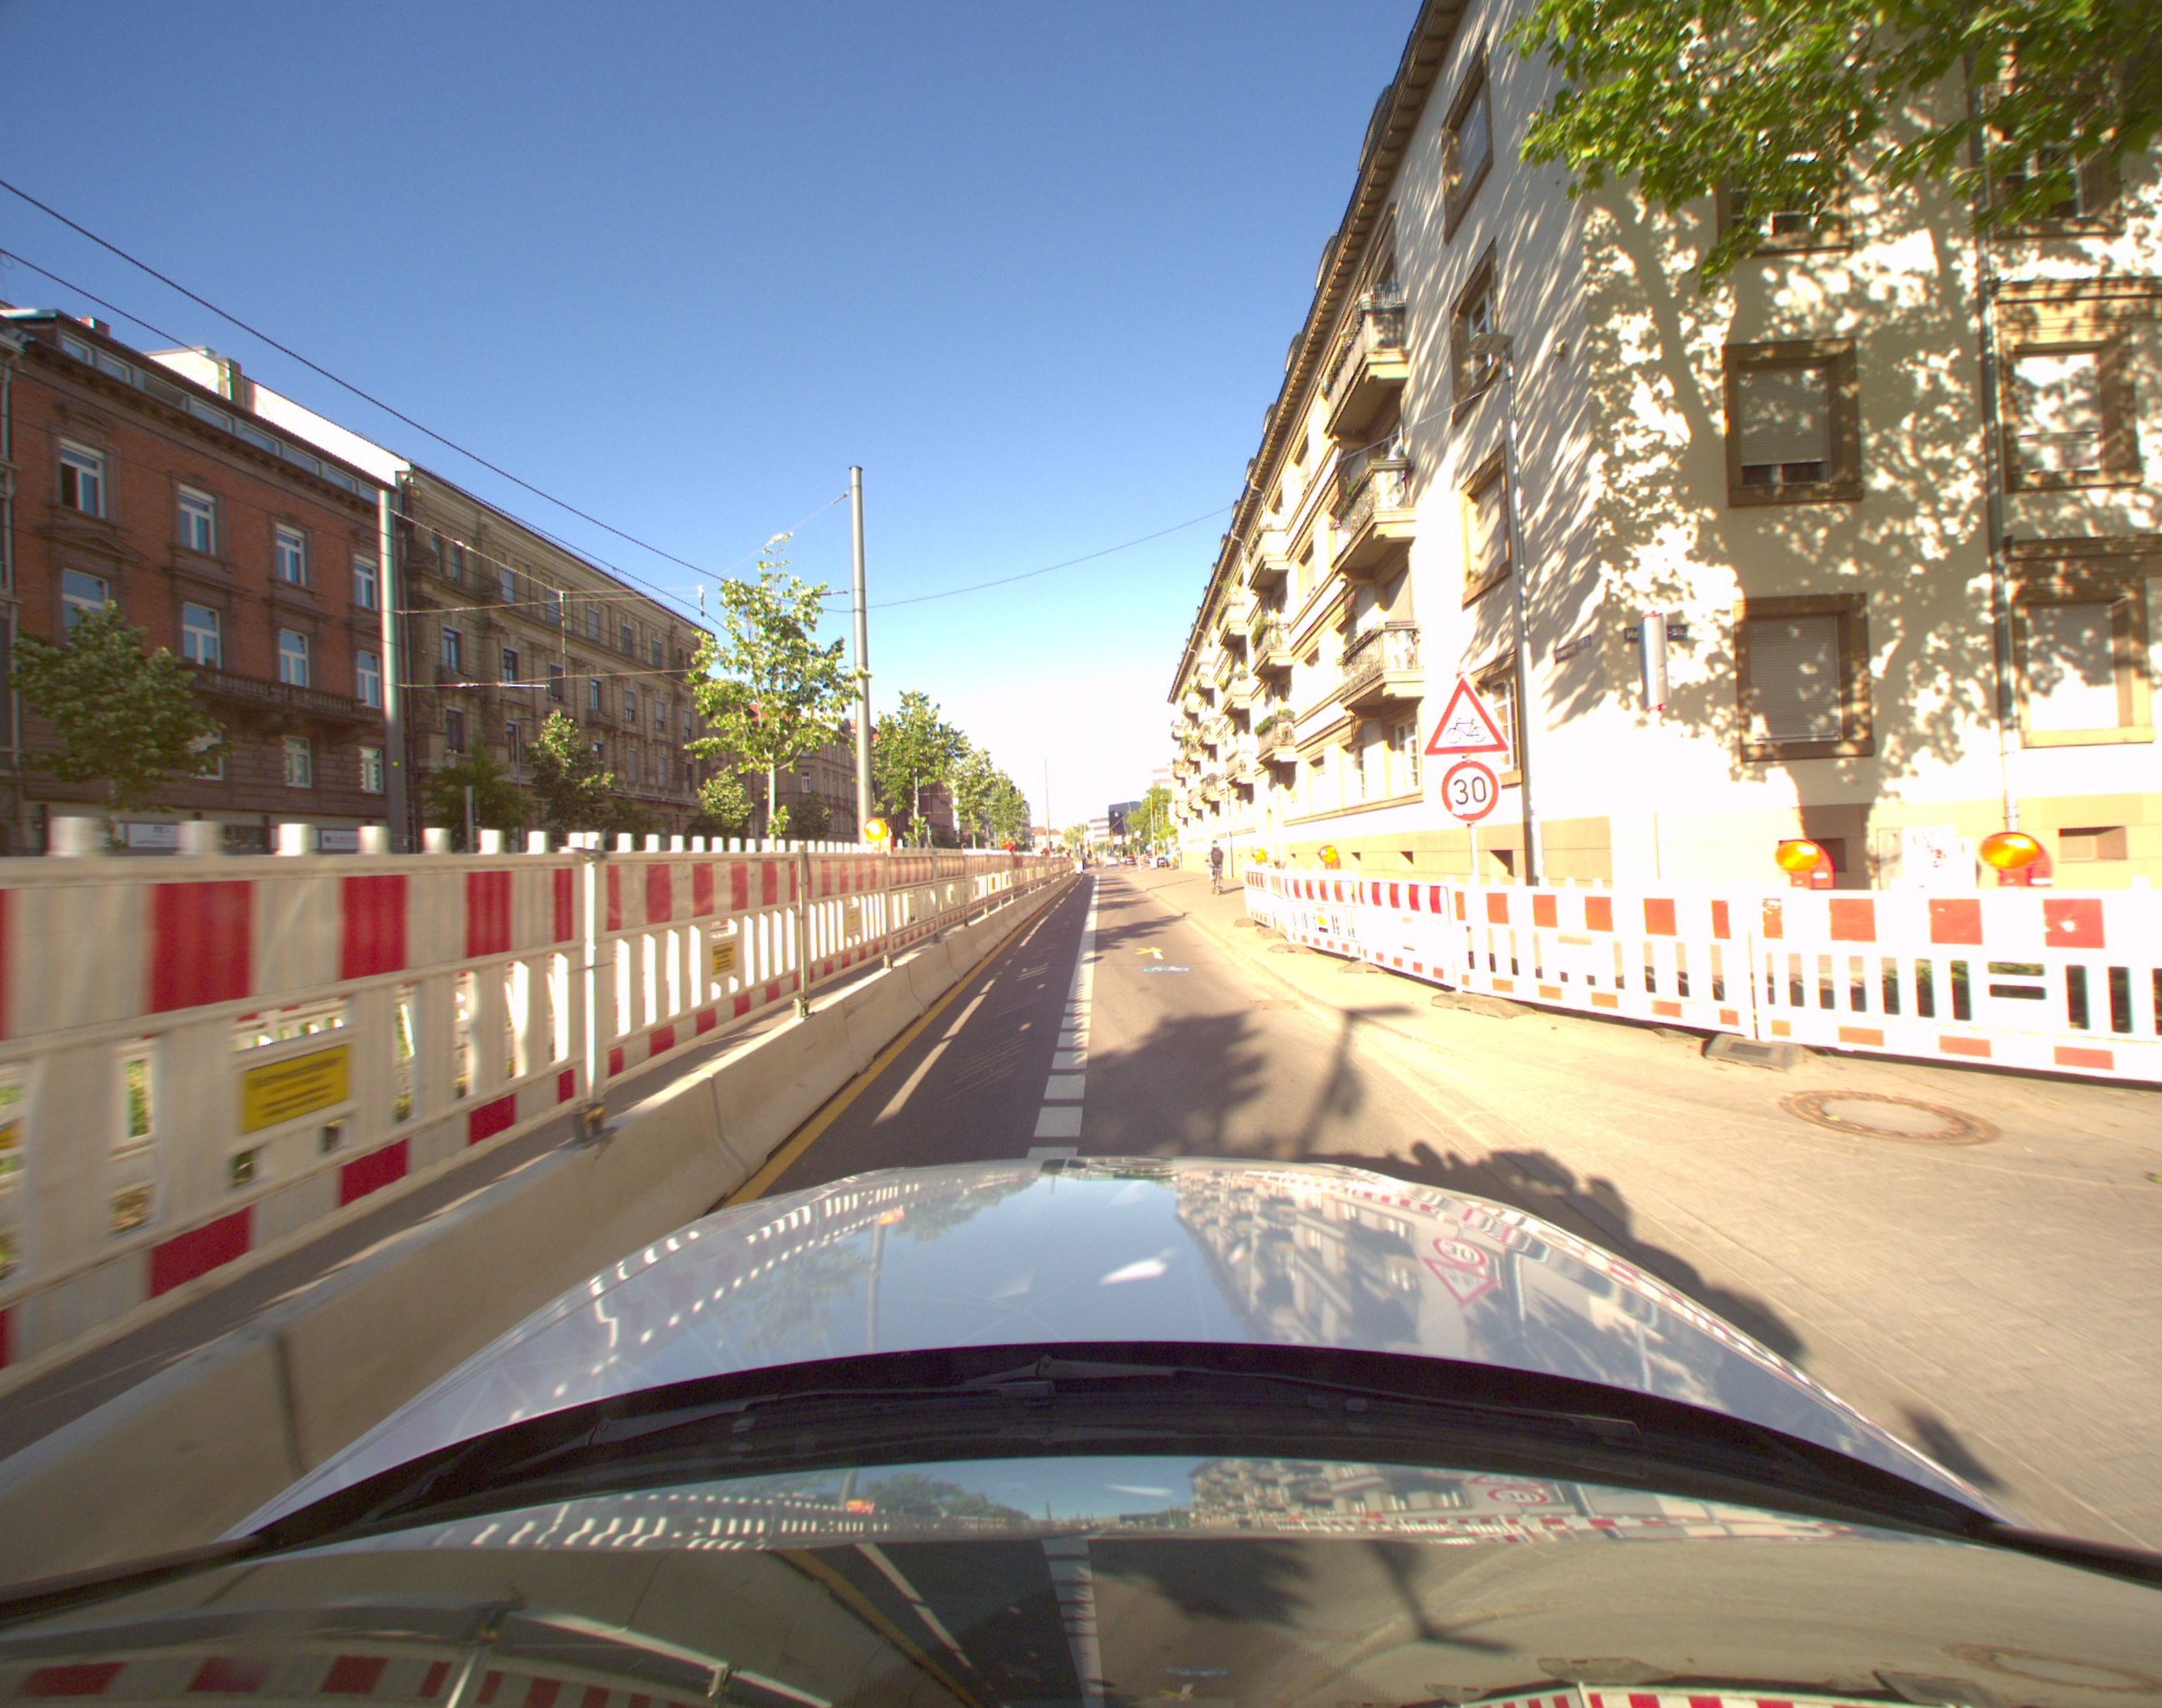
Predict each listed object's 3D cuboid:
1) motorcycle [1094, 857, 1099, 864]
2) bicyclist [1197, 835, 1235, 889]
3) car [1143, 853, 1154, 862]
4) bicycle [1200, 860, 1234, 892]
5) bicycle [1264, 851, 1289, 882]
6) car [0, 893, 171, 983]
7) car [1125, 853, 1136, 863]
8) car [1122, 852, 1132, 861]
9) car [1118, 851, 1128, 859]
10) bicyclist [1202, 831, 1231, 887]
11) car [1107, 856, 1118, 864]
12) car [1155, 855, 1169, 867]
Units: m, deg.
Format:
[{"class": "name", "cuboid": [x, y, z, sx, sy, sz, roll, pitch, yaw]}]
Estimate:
[{"class": "motorcycle", "cuboid": [3.238, 1.337, 168.645, 1.015, 1.312, 2.916, 0, 0, 2]}, {"class": "bicyclist", "cuboid": [4.364, 0.245, 26.429, 0.988, 1.666, 1.014, -3, 0, 2]}, {"class": "car", "cuboid": [13.282, 0.653, 160.398, 1.839, 1.560, 4.636, 0, 3, 2]}, {"class": "bicycle", "cuboid": [4.419, 0.694, 26.592, 0.764, 0.953, 2.198, -2, 0, 1]}, {"class": "bicycle", "cuboid": [7.183, 0.440, 29.992, 0.416, 1.095, 2.199, -2, 0, 2]}, {"class": "car", "cuboid": [-22.694, 1.766, 17.083, 1.930, 1.658, 4.548, 0, 0, 3]}, {"class": "car", "cuboid": [8.987, 0.734, 148.434, 1.967, 1.759, 4.635, 0, 0, 2]}, {"class": "car", "cuboid": [8.836, 0.561, 156.243, 1.844, 1.640, 4.380, -1, -1, 1]}, {"class": "car", "cuboid": [8.906, 0.143, 173.307, 1.844, 1.497, 4.380, -3, 0, 2]}, {"class": "bicyclist", "cuboid": [4.409, 0.157, 26.509, 0.730, 1.763, 0.938, -2, -1, 1]}, {"class": "car", "cuboid": [5.504, 1.080, 142.587, 1.774, 1.414, 4.820, 0, 0, 2]}, {"class": "car", "cuboid": [11.904, 1.053, 119.314, 1.711, 1.637, 4.240, -3, -1, 8]}]
